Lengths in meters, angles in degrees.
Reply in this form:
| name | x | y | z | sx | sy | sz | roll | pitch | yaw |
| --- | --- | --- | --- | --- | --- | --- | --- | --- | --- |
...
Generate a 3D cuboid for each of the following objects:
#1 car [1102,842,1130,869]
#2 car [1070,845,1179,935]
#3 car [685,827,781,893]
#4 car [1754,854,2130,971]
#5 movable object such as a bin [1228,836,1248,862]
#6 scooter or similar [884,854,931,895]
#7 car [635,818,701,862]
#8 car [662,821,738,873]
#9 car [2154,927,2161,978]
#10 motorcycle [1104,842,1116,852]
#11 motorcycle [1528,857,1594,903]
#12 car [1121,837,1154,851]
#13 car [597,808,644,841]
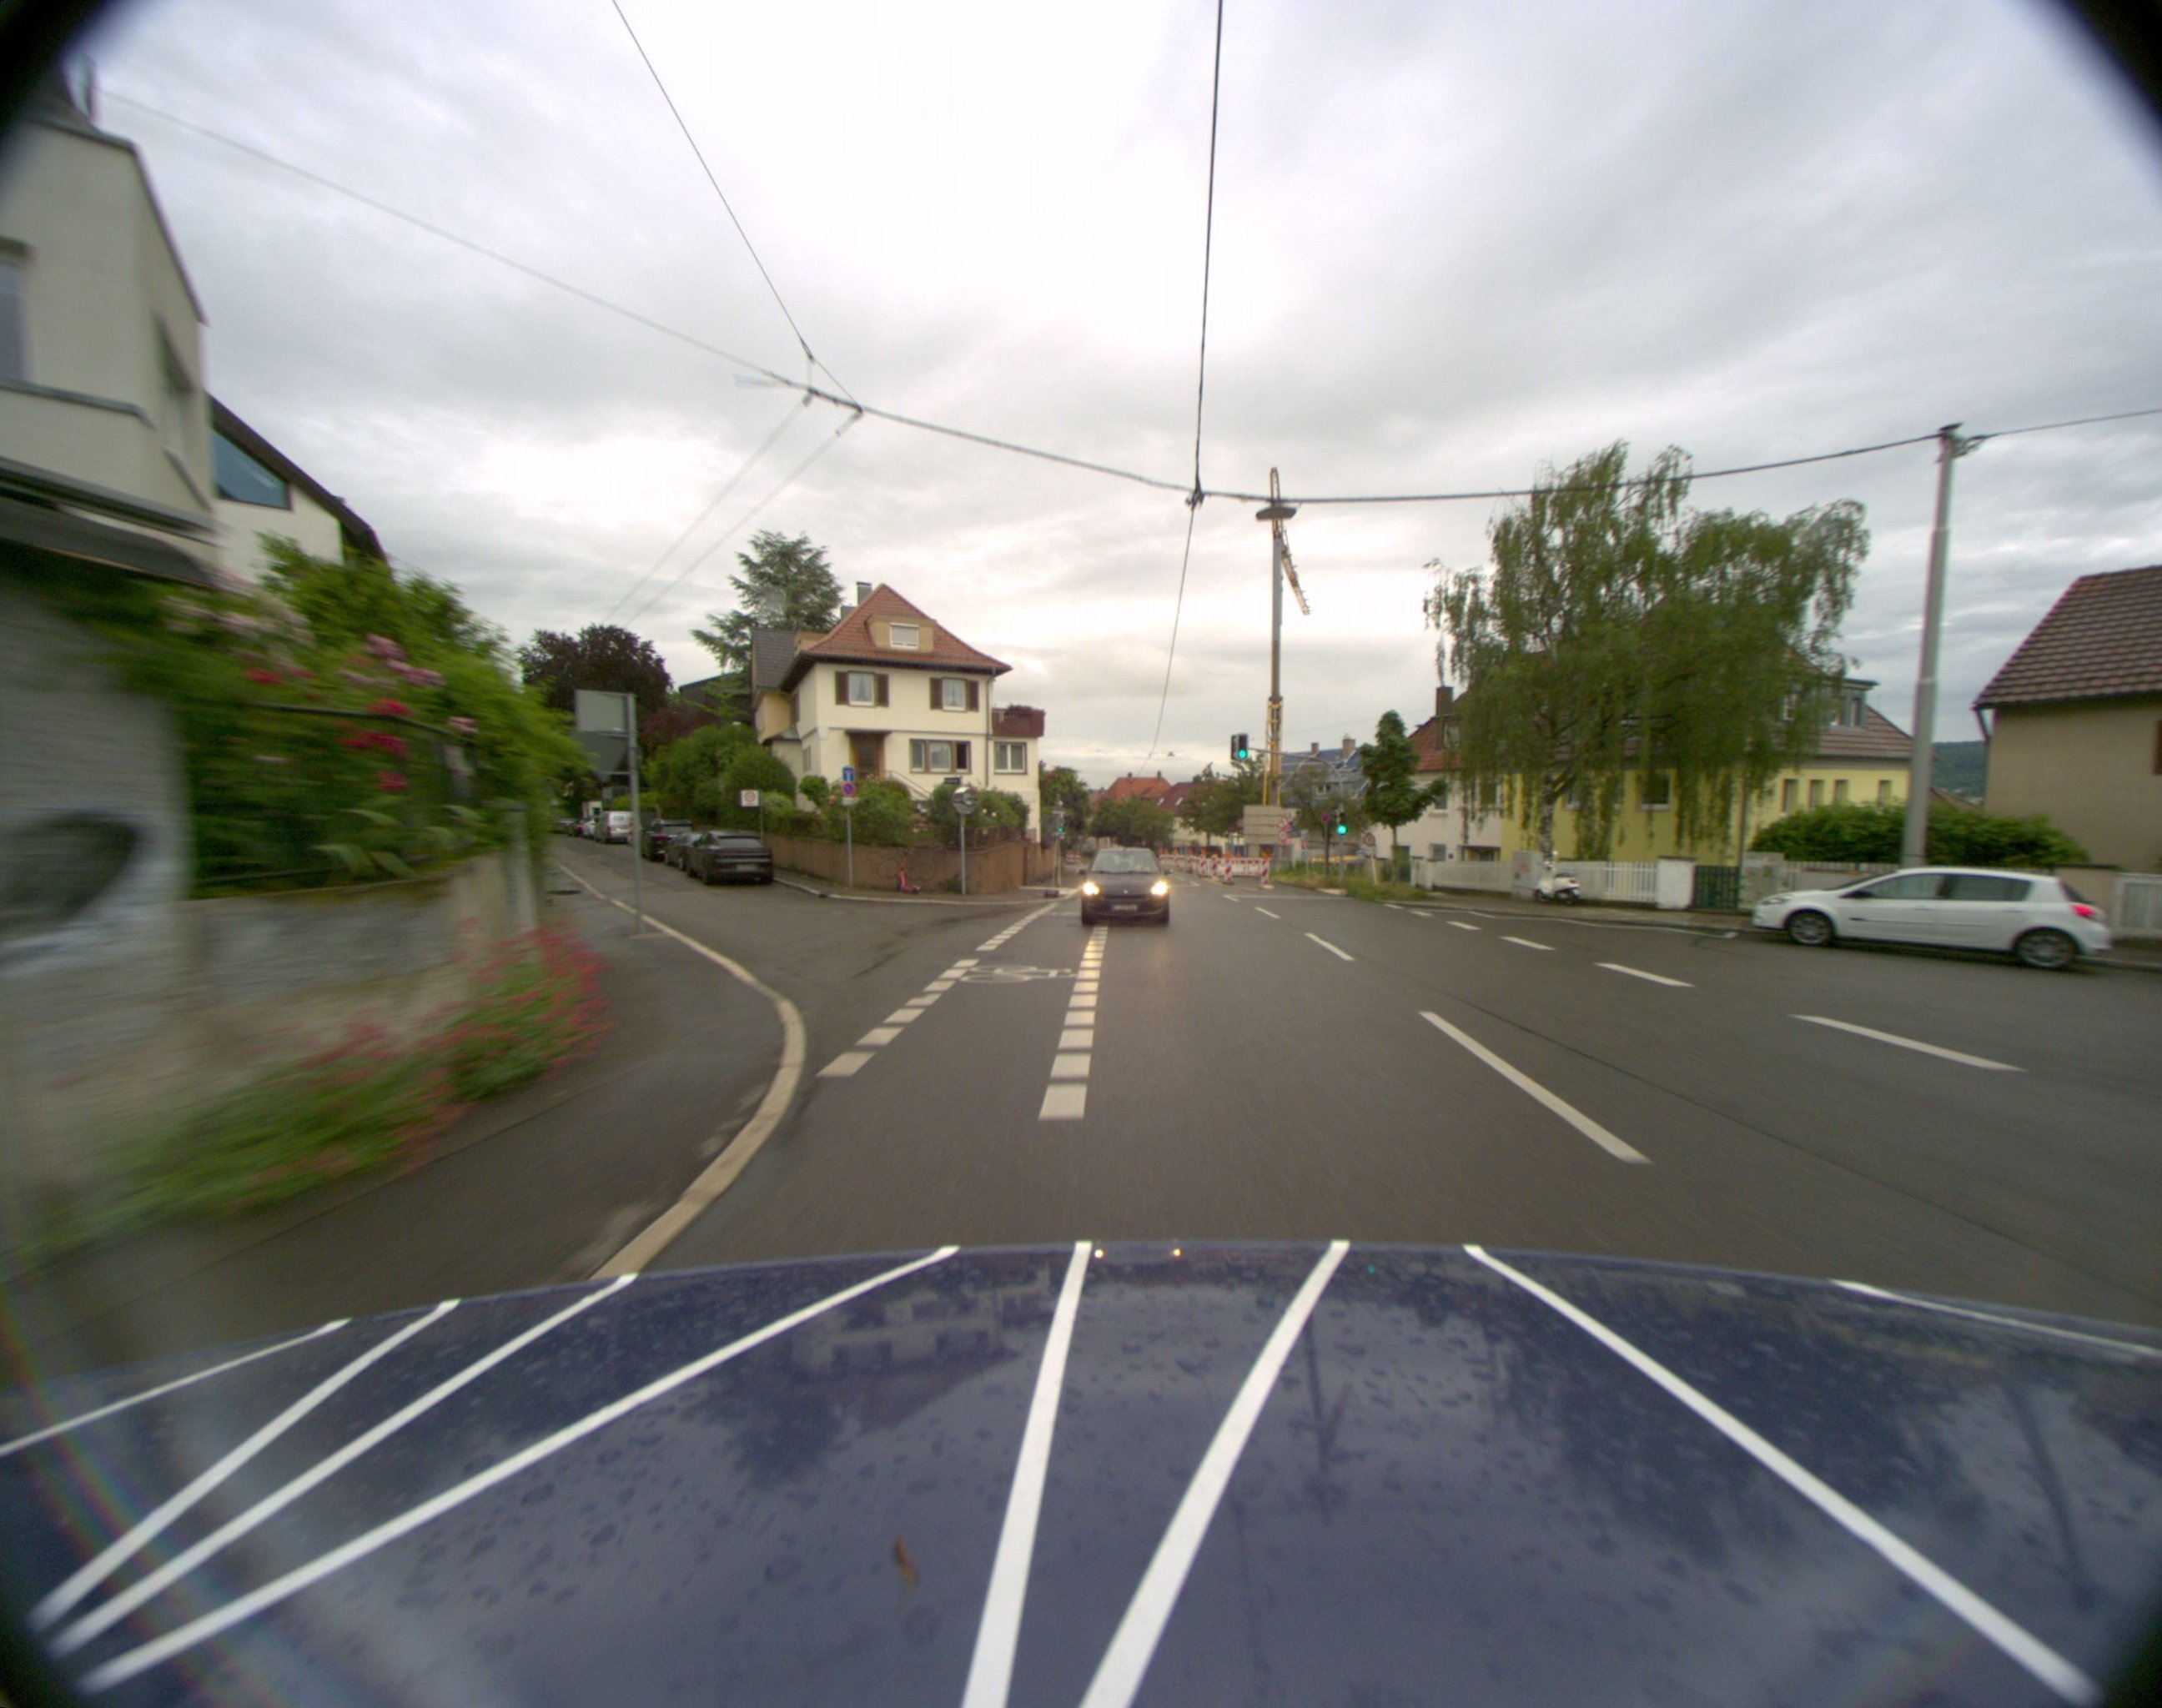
| name | x | y | z | sx | sy | sz | roll | pitch | yaw |
| --- | --- | --- | --- | --- | --- | --- | --- | --- | --- |
| car | 2.776 | 0.084 | 60.500 | 2.017 | 1.729 | 4.596 | -5 | 4 | 2 |
| car | 0.897 | 0.588 | 14.798 | 1.746 | 1.433 | 4.360 | -3 | 0 | 5 |
| car | -11.360 | 0.109 | 24.657 | 2.003 | 1.675 | 4.356 | -3 | 6 | -36 |
| car | 14.381 | 0.848 | 12.992 | 1.693 | 1.500 | 3.999 | 0 | 3 | -39 |
| movable object such as a bin | 15.158 | -0.462 | 73.308 | 1.318 | 2.491 | 1.383 | 0 | 1 | -20 |
| scooter or similar | -5.077 | 0.581 | 22.181 | 0.654 | 1.052 | 1.554 | -1 | 5 | -40 |
| car | -18.104 | -0.681 | 33.186 | 1.878 | 1.659 | 4.357 | -6 | 6 | -35 |
| car | -14.753 | -0.345 | 29.341 | 1.878 | 1.634 | 4.356 | -4 | 6 | -35 |
| car | 16.541 | 1.163 | 9.717 | 1.567 | 1.423 | 2.911 | 1 | 4 | -25 |
| motorcycle | 4.152 | -0.976 | 107.434 | 0.735 | 1.241 | 1.965 | -6 | 2 | -28 |
| motorcycle | 12.638 | 0.661 | 20.062 | 0.592 | 1.124 | 1.843 | 0 | 1 | 1 |
| car | 7.625 | -1.369 | 102.701 | 3.956 | 1.535 | 1.860 | -7 | 4 | -23 |
| car | -27.879 | -1.812 | 45.938 | 1.879 | 1.832 | 4.356 | -2 | 5 | -38 |
